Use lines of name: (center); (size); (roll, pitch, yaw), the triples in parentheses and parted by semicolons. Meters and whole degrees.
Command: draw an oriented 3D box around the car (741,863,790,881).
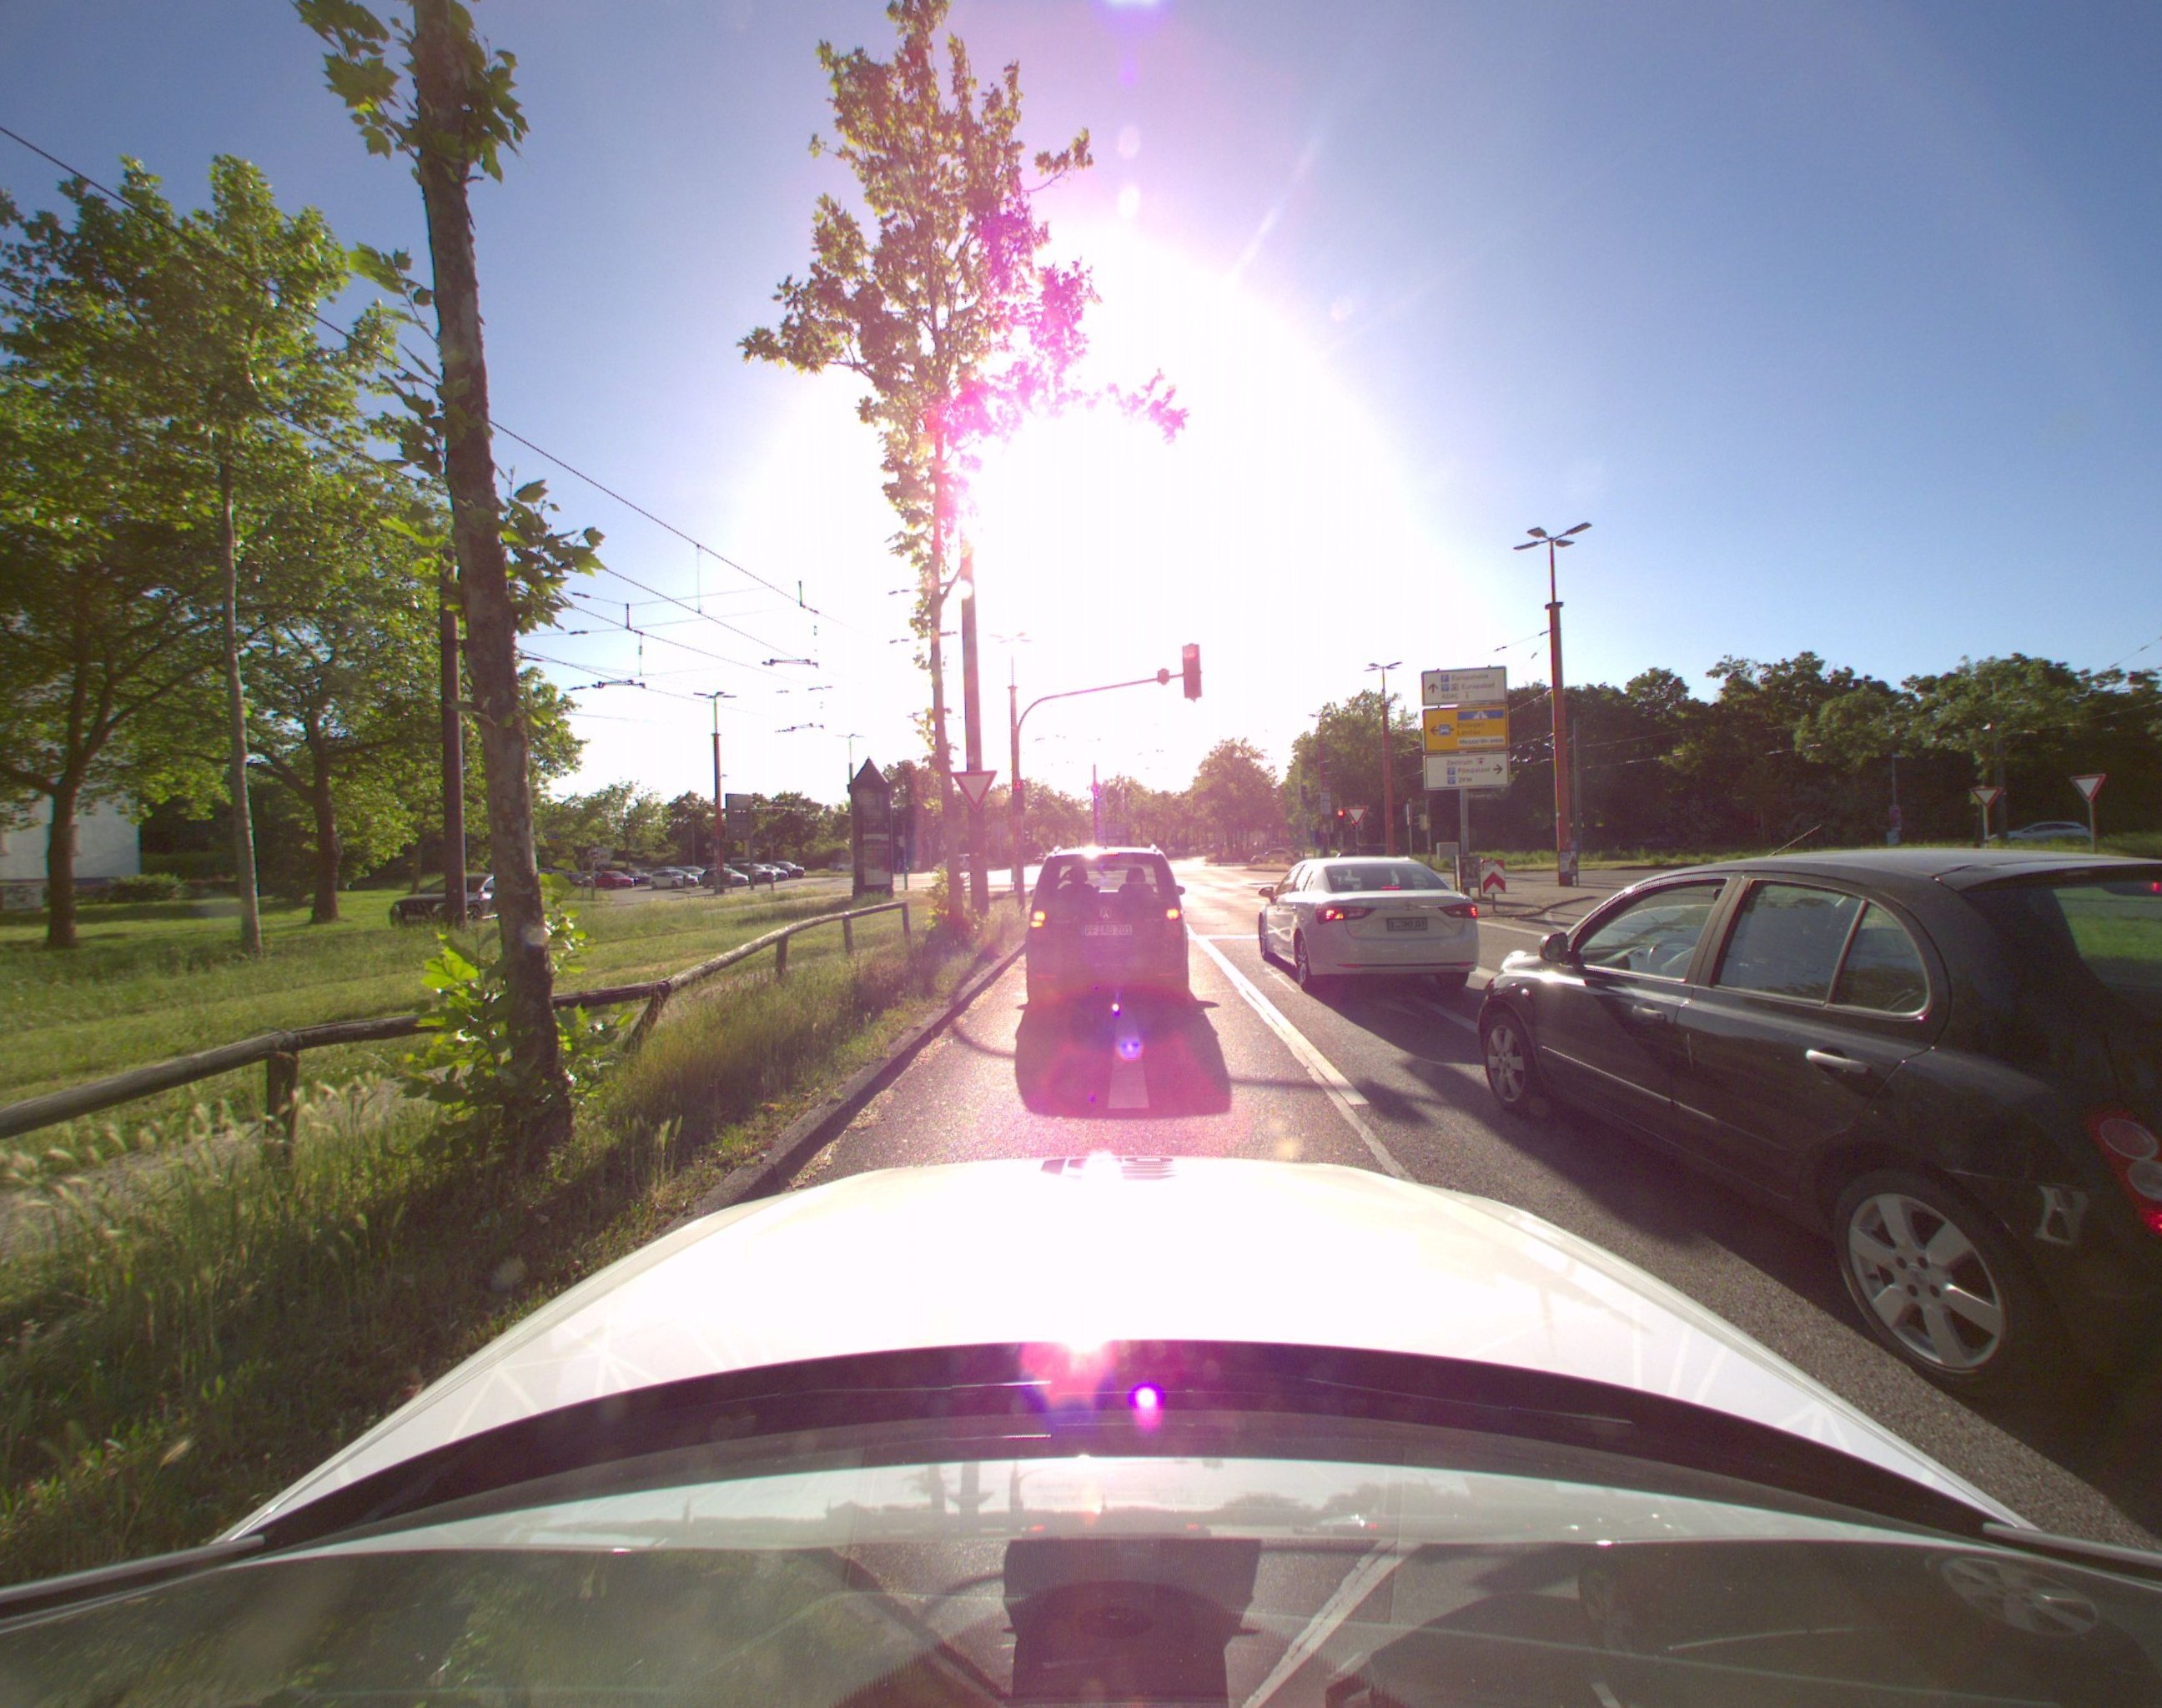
car: (-26.837, 1.523, 69.186); (4.102, 1.415, 1.553); (-1, 0, 28)

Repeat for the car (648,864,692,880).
car: (-38.202, 1.669, 75.704); (4.102, 1.415, 1.553); (-1, 0, 28)

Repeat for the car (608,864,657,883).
car: (-40.460, 1.728, 73.429); (4.583, 1.647, 1.767); (-1, 0, 32)

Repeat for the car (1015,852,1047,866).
car: (-6.292, 0.602, 102.761); (1.635, 1.750, 4.158); (-1, 0, 41)

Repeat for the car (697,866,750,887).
car: (-26.940, 1.688, 61.345); (3.793, 1.441, 1.667); (-1, 0, 29)

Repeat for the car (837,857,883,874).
car: (-22.776, 1.201, 83.767); (4.616, 1.625, 1.667); (-1, 0, 28)

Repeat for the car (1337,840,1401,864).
car: (20.917, -0.133, 59.111); (4.165, 1.681, 1.666); (-1, 0, 25)

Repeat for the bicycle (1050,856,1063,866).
bicycle: (-3.415, 0.944, 114.127); (0.969, 1.388, 2.991); (-2, 0, 15)

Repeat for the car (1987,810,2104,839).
car: (54.216, -1.624, 45.865); (3.877, 1.457, 1.667); (-1, 0, 28)

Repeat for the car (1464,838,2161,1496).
car: (3.179, 0.692, 3.490); (1.570, 1.440, 3.443); (0, -1, 2)

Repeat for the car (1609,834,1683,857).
car: (38.094, -0.563, 55.020); (3.877, 1.457, 1.667); (-1, 0, 28)

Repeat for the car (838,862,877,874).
car: (-26.451, 1.660, 96.381); (4.087, 1.403, 1.664); (-1, 0, 16)

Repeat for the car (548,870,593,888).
car: (-45.083, 2.222, 71.899); (4.145, 1.520, 1.667); (-1, 0, 32)

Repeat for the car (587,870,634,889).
car: (-39.446, 2.151, 68.249); (4.145, 1.520, 1.667); (-1, 0, 32)

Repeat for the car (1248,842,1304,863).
car: (16.111, -0.106, 67.156); (4.164, 1.681, 1.667); (-1, 0, 28)

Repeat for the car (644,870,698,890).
car: (-32.591, 2.073, 64.683); (4.577, 1.520, 1.667); (-1, 0, 32)

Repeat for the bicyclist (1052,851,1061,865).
bicyclist: (-3.416, 0.537, 114.170); (0.969, 1.904, 1.055); (-2, 0, 14)

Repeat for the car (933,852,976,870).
car: (-12.858, 0.707, 82.751); (4.081, 1.750, 1.666); (-1, 0, 25)

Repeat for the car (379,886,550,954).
car: (-18.137, 1.879, 24.248); (1.645, 1.618, 4.297); (-1, 0, 2)

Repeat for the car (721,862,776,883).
car: (-26.697, 1.489, 65.298); (4.583, 1.647, 1.667); (-1, 0, 32)

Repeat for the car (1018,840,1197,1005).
car: (0.365, 0.686, 10.084); (1.731, 1.602, 4.329); (0, -1, 3)

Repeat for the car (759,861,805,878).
car: (-26.734, 1.381, 72.810); (4.102, 1.415, 1.553); (-1, 0, 28)

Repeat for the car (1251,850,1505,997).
car: (3.372, 0.706, 10.189); (1.792, 1.440, 4.329); (0, 0, 3)
